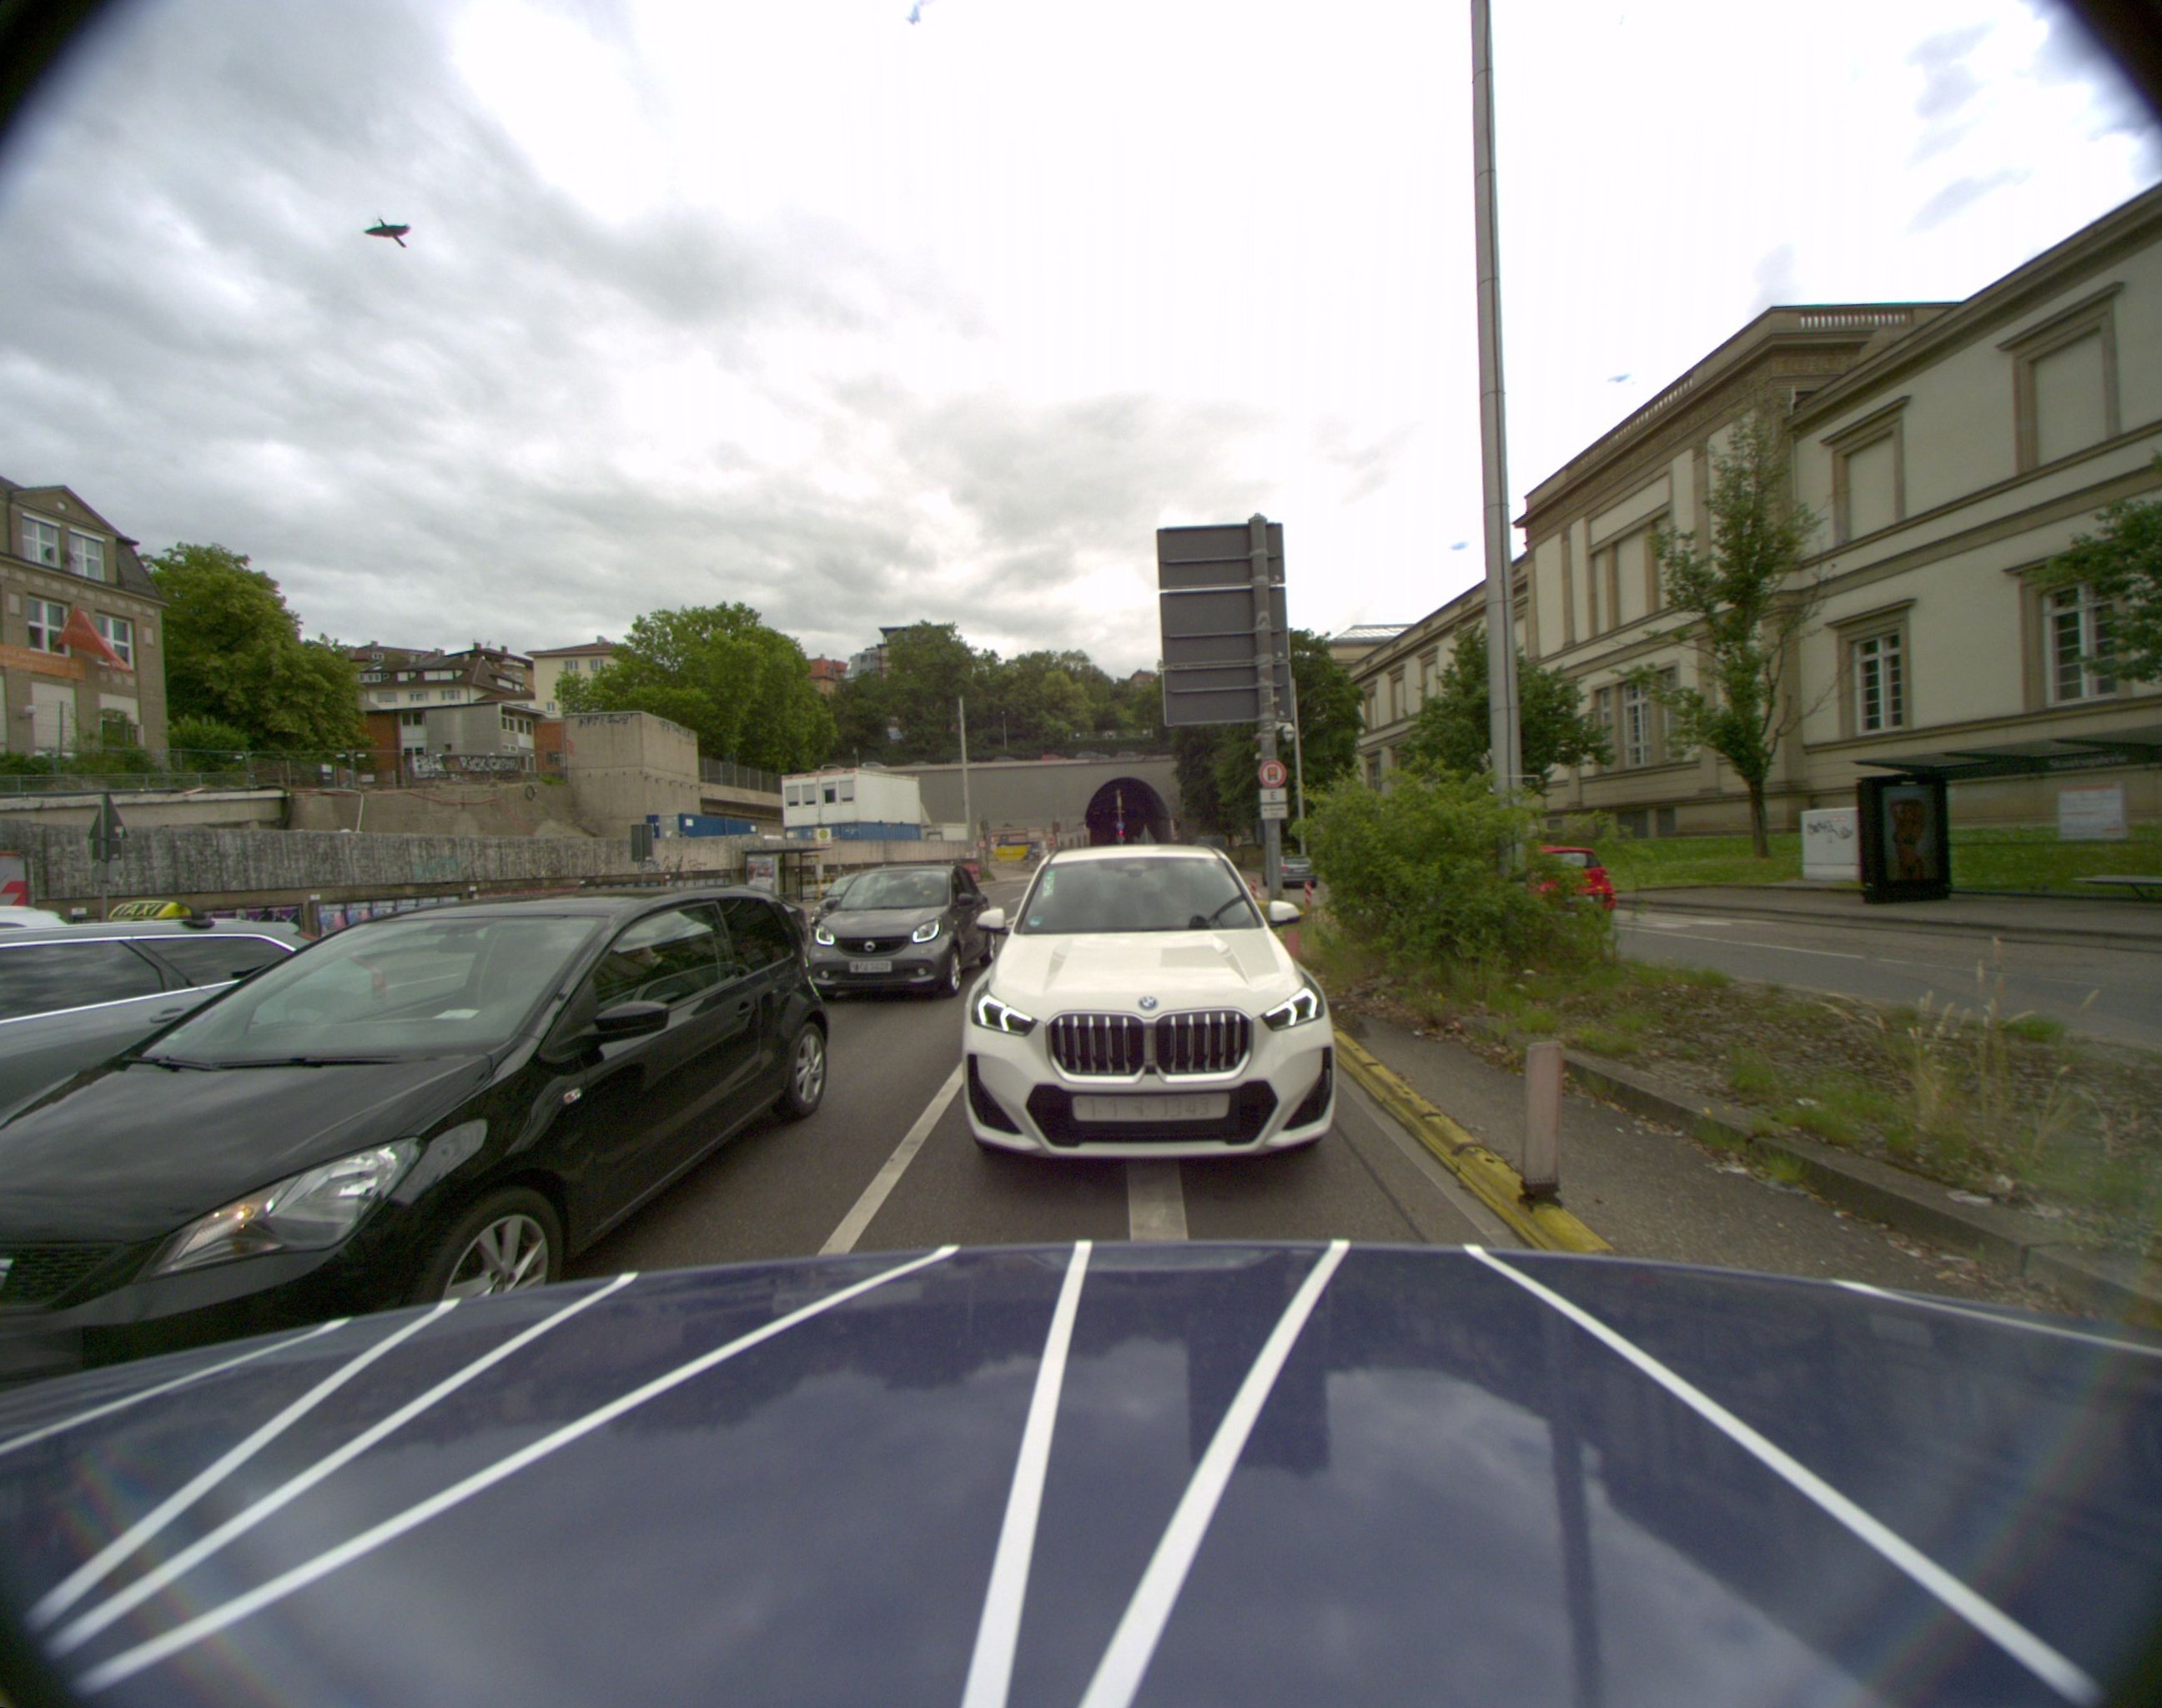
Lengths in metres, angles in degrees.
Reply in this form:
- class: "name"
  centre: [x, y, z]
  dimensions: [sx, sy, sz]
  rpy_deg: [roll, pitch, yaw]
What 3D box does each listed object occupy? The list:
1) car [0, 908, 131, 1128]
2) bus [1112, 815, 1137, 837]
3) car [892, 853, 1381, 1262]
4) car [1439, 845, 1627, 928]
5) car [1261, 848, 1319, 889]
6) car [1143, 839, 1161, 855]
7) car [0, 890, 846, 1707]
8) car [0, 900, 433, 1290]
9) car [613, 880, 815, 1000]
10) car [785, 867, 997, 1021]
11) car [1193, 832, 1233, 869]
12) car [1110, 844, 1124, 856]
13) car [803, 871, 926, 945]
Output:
- class: "car"
  centre: [-9.112, 1.325, 4.455]
  dimensions: [1.680, 1.615, 4.209]
  rpy_deg: [-2, 1, 1]
- class: "bus"
  centre: [6.950, -4.445, 122.544]
  dimensions: [3.171, 3.129, 9.118]
  rpy_deg: [-2, 1, -1]
- class: "car"
  centre: [0.257, 0.855, 5.012]
  dimensions: [1.987, 1.615, 3.670]
  rpy_deg: [-2, 1, 1]
- class: "car"
  centre: [9.123, 0.590, 15.706]
  dimensions: [1.646, 1.469, 3.574]
  rpy_deg: [-2, 0, -2]
- class: "car"
  centre: [8.982, 0.588, 32.916]
  dimensions: [1.777, 1.609, 3.804]
  rpy_deg: [-2, 1, 5]
- class: "car"
  centre: [8.368, -0.828, 89.540]
  dimensions: [1.946, 1.714, 4.000]
  rpy_deg: [-2, 1, 4]
- class: "car"
  centre: [-2.576, 1.025, 3.354]
  dimensions: [1.829, 1.450, 3.700]
  rpy_deg: [-2, 1, 1]
- class: "car"
  centre: [-5.861, 1.214, 3.314]
  dimensions: [1.829, 1.615, 4.808]
  rpy_deg: [-2, 1, 1]
- class: "car"
  centre: [-5.399, 1.199, 11.551]
  dimensions: [1.665, 1.423, 2.714]
  rpy_deg: [-2, 1, 1]
- class: "car"
  centre: [-2.228, 0.989, 9.899]
  dimensions: [1.720, 1.535, 3.575]
  rpy_deg: [-2, 0, 2]
- class: "car"
  centre: [9.459, -0.255, 54.767]
  dimensions: [2.203, 2.493, 4.758]
  rpy_deg: [-2, 1, 2]
- class: "car"
  centre: [4.535, -0.477, 95.477]
  dimensions: [1.680, 1.450, 3.807]
  rpy_deg: [-2, 1, 3]
- class: "car"
  centre: [-4.924, 1.174, 17.823]
  dimensions: [1.680, 1.358, 3.806]
  rpy_deg: [-2, 1, 1]
